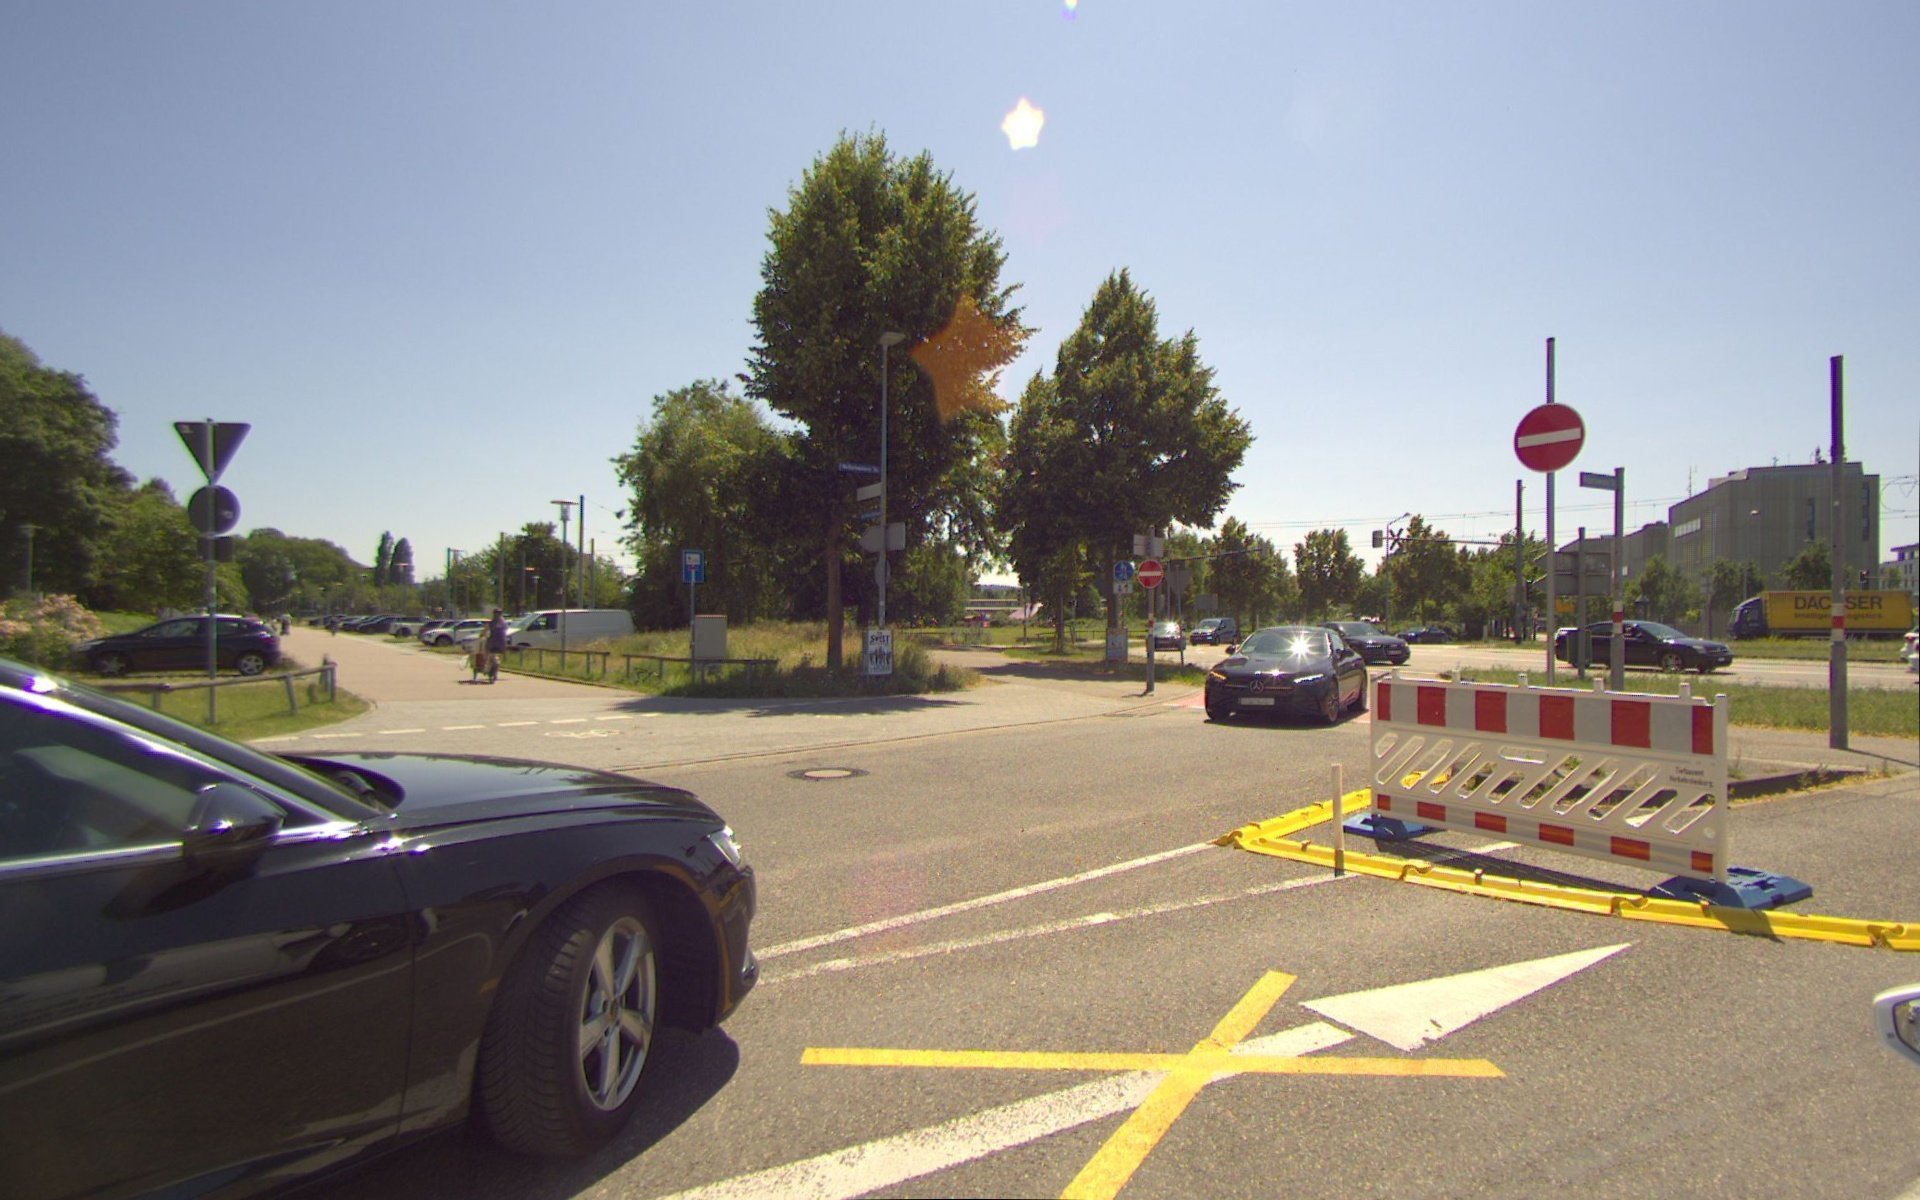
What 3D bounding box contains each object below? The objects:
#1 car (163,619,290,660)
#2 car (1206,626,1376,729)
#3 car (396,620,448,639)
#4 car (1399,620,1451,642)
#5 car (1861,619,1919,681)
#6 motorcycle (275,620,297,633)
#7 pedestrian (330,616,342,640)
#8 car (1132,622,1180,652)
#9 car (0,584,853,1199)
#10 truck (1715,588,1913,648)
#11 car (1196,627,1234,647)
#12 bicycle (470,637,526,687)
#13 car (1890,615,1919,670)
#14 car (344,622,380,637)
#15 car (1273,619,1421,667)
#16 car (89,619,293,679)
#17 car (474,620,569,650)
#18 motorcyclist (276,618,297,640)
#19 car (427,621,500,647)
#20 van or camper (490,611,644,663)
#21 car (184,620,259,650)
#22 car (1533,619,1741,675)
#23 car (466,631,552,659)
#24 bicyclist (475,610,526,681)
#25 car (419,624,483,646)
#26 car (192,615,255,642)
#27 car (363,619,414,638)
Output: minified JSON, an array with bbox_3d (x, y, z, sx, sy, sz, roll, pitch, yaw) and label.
[{"bbox_3d":[-27.794,1.509,38.176,3.772,1.344,1.643,4,-2,-36],"label":"car"},{"bbox_3d":[5.500,1.150,16.292,1.789,1.422,4.627,-1,-2,29],"label":"car"},{"bbox_3d":[-37.683,2.086,70.392,3.188,1.298,1.346,1,-1,-30],"label":"car"},{"bbox_3d":[34.202,2.269,73.872,3.354,1.534,1.347,1,-1,-10],"label":"car"},{"bbox_3d":[24.235,1.227,23.634,1.841,1.468,4.301,1,0,-40],"label":"car"},{"bbox_3d":[-49.926,1.927,74.390,1.358,0.934,3.194,1,-1,-35],"label":"motorcycle"},{"bbox_3d":[-46.063,2.061,74.155,0.666,1.686,1.327,1,-1,-36],"label":"pedestrian"},{"bbox_3d":[9.910,1.867,50.978,1.688,1.430,4.620,0,-1,2],"label":"car"},{"bbox_3d":[-2.393,0.694,1.970,1.772,1.471,4.604,1,0,35],"label":"car"},{"bbox_3d":[55.484,1.168,65.663,9.439,3.707,2.704,0,-1,28],"label":"truck"},{"bbox_3d":[16.605,2.414,65.244,1.616,1.243,3.255,0,-1,29],"label":"car"},{"bbox_3d":[-11.101,1.483,24.123,1.653,1.127,0.547,0,-3,42],"label":"bicycle"},{"bbox_3d":[27.915,1.161,26.759,1.980,1.505,4.323,1,-1,-35],"label":"car"},{"bbox_3d":[-59.545,2.902,99.988,3.004,1.487,1.379,1,-1,-30],"label":"car"},{"bbox_3d":[13.476,1.446,35.223,1.978,1.468,4.610,1,0,-32],"label":"car"},{"bbox_3d":[-18.323,1.141,24.151,3.771,1.344,1.643,1,-1,-36],"label":"car"},{"bbox_3d":[-18.655,1.480,42.785,3.480,1.233,1.343,1,-1,-36],"label":"car"},{"bbox_3d":[-49.692,2.124,74.092,1.243,1.630,1.427,1,-1,-35],"label":"motorcyclist"},{"bbox_3d":[-25.754,1.740,52.105,3.341,1.298,1.346,1,-1,-29],"label":"car"},{"bbox_3d":[-15.141,1.399,38.845,5.224,1.882,1.979,1,-1,-37],"label":"van or camper"},{"bbox_3d":[-34.939,1.670,47.603,2.715,1.375,1.163,1,-1,-30],"label":"car"},{"bbox_3d":[19.794,1.319,29.582,1.977,1.468,4.718,1,-1,-31],"label":"car"},{"bbox_3d":[-21.044,2.083,46.887,3.480,1.233,1.343,1,-1,-36],"label":"car"},{"bbox_3d":[-11.025,1.095,24.118,0.960,1.659,0.711,1,-3,41],"label":"bicyclist"},{"bbox_3d":[-29.752,2.013,58.681,3.263,1.243,1.407,1,-1,-30],"label":"car"},{"bbox_3d":[-38.040,1.468,51.910,2.499,1.376,1.075,1,-1,-30],"label":"car"},{"bbox_3d":[-46.682,2.349,82.003,3.504,1.483,1.534,1,-1,-35],"label":"car"}]
